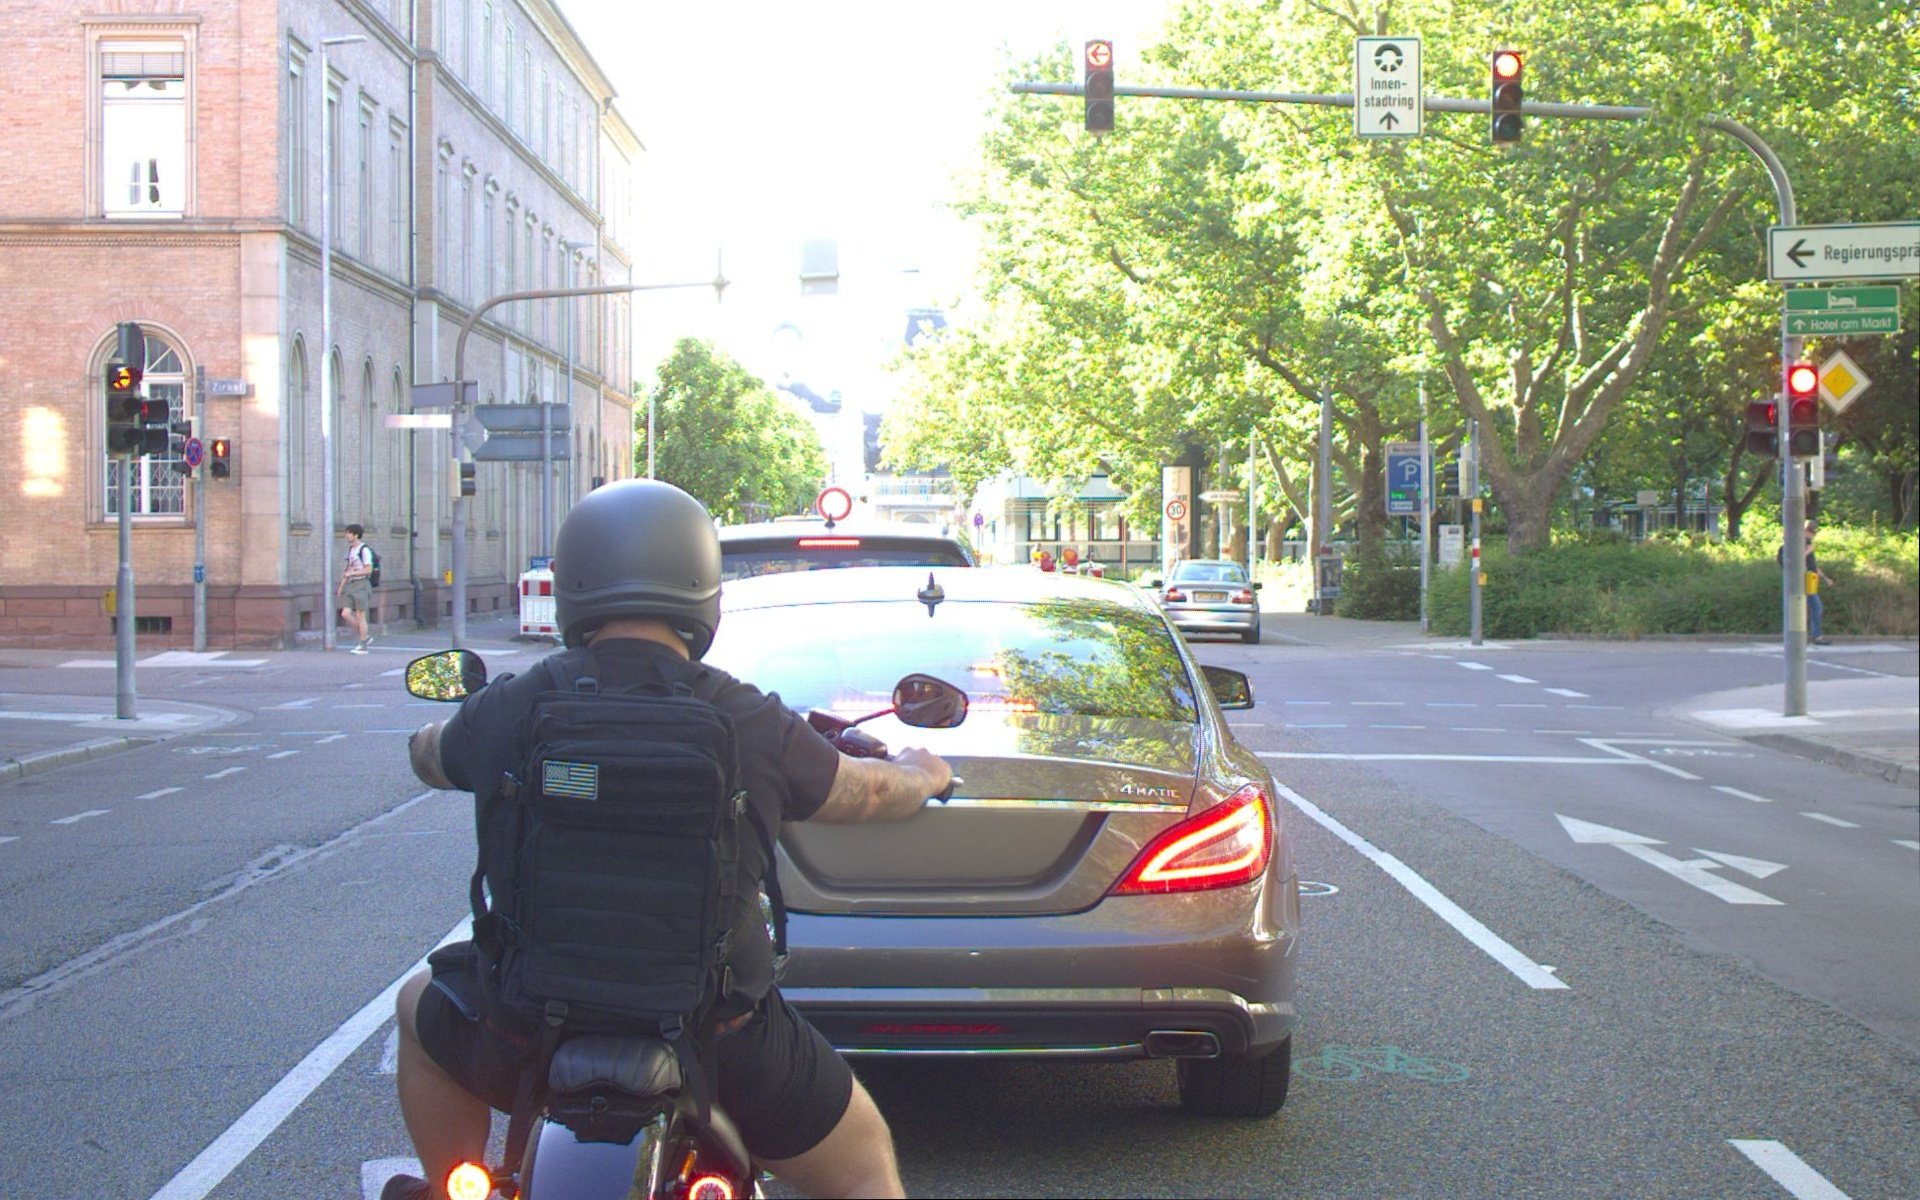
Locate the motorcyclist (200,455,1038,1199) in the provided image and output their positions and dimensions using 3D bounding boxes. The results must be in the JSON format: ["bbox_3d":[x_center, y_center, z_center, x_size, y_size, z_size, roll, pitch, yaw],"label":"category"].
[{"bbox_3d":[-0.484,0.597,5.416,1.149,1.593,1.288,1,0,-1],"label":"motorcyclist"}]

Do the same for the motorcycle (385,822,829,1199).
[{"bbox_3d":[-0.497,0.928,5.435,0.513,0.999,2.013,1,1,-1],"label":"motorcycle"}]

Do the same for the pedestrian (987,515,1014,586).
[{"bbox_3d":[1.181,-1.449,100.938,0.764,2.044,0.712,1,0,-1],"label":"pedestrian"}]

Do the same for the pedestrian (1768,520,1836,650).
[{"bbox_3d":[12.525,-0.228,51.160,0.923,1.903,0.751,1,0,12],"label":"pedestrian"}]

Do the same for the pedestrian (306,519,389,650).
[{"bbox_3d":[-8.665,-0.220,48.610,1.001,1.820,1.076,1,0,-18],"label":"pedestrian"}]

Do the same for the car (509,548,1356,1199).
[{"bbox_3d":[-0.083,0.598,9.623,1.882,1.444,3.820,1,1,-1],"label":"car"}]

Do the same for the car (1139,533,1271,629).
[{"bbox_3d":[4.151,-0.335,58.849,1.852,1.569,4.136,1,1,-1],"label":"car"}]

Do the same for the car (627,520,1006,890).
[{"bbox_3d":[-0.638,0.414,16.738,1.621,1.588,4.000,0,1,-1],"label":"car"}]
